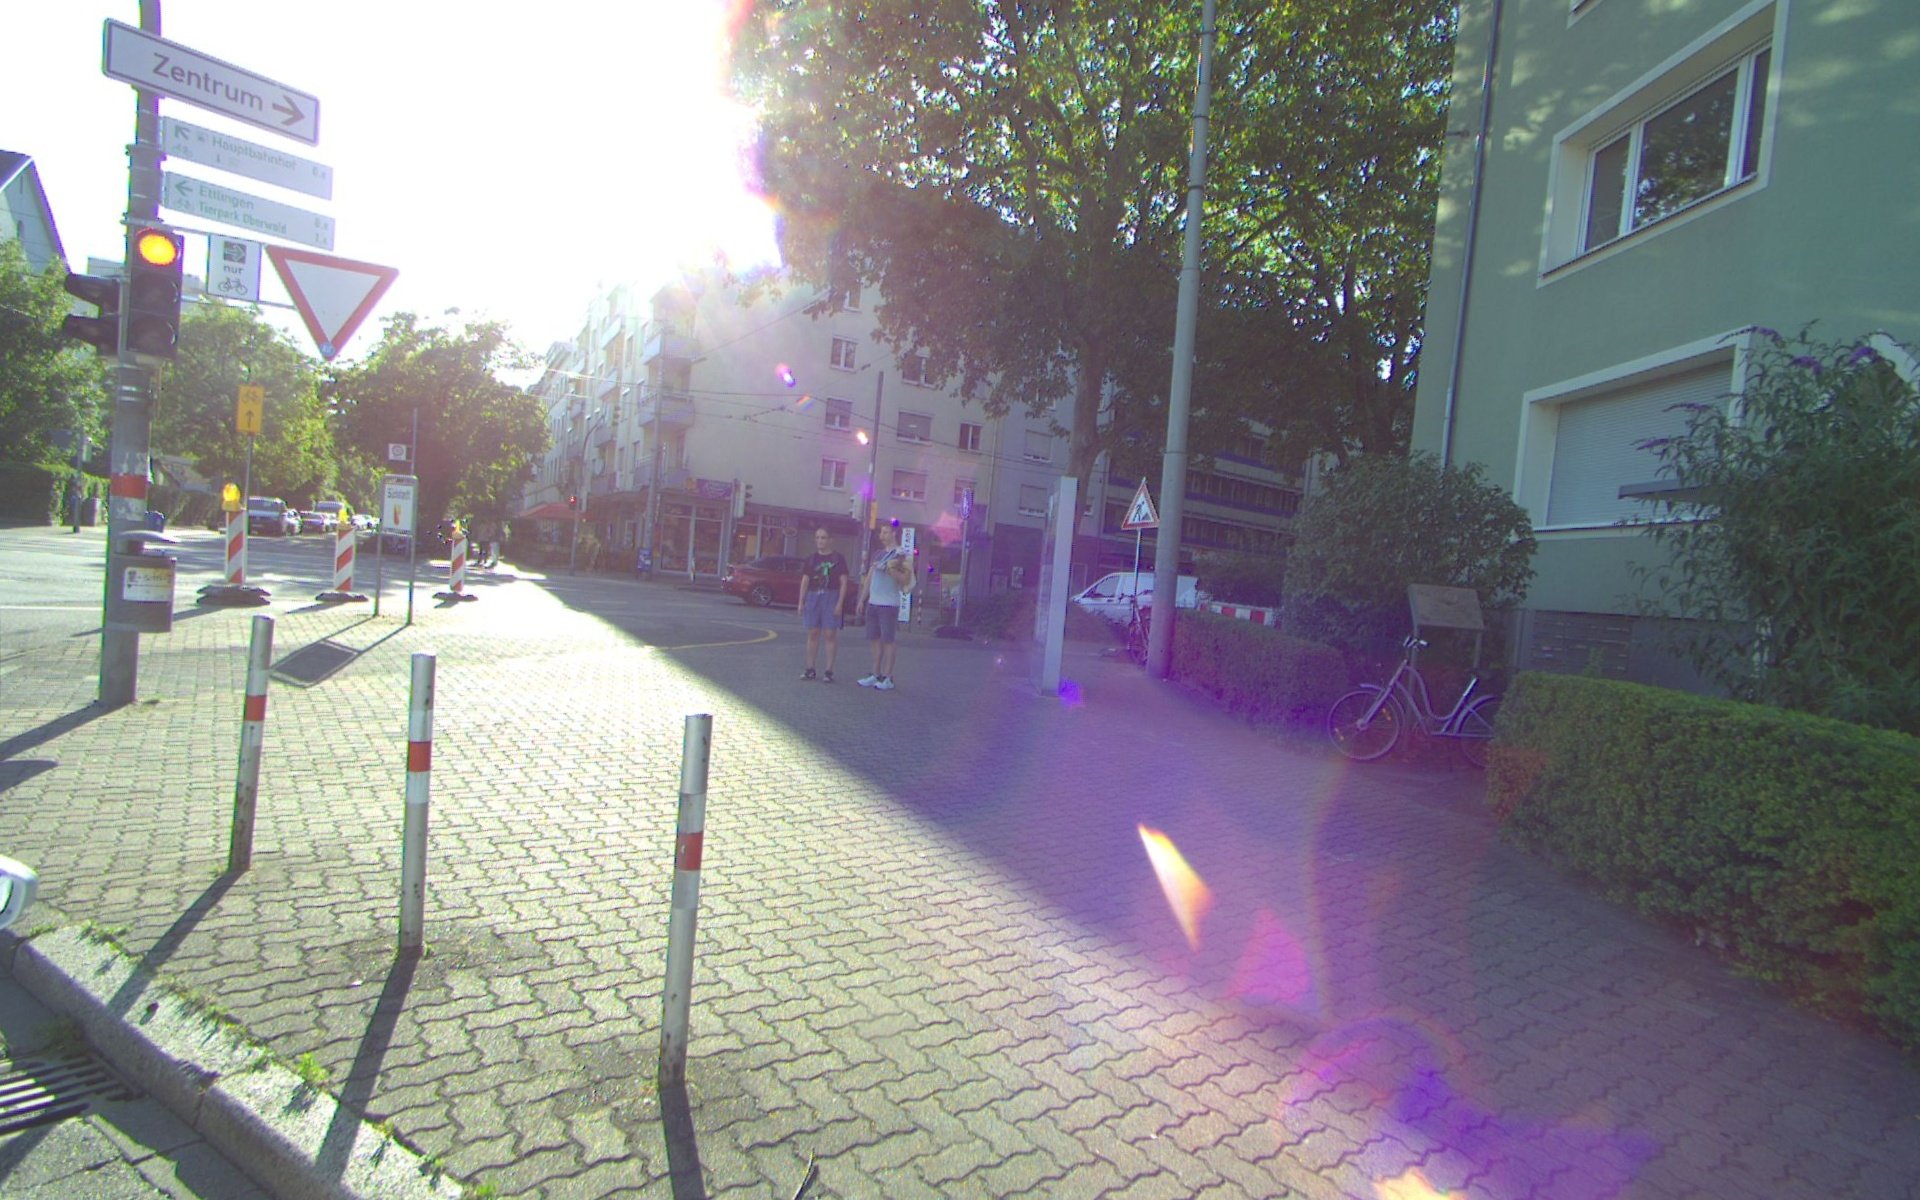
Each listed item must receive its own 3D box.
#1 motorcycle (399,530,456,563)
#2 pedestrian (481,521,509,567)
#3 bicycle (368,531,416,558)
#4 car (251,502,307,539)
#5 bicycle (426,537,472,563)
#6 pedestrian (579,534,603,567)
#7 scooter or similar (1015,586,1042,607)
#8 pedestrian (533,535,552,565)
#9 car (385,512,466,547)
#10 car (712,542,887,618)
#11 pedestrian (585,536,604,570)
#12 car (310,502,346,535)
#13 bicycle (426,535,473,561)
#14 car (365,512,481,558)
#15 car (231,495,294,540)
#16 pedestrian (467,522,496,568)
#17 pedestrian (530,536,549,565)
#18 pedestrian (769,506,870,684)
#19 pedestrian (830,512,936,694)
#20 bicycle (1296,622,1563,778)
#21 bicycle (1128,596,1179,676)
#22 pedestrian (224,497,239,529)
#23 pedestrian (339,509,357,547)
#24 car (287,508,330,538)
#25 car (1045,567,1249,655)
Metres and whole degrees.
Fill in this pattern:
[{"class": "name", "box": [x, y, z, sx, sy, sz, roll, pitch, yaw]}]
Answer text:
[{"class": "motorcycle", "box": [-21.647, -2.166, 40.886, 1.938, 1.124, 0.829, 4, 2, -34]}, {"class": "pedestrian", "box": [-18.553, -2.219, 40.131, 0.681, 1.774, 0.793, 5, 2, -9]}, {"class": "bicycle", "box": [-23.707, -2.335, 42.018, 1.708, 0.945, 0.667, 5, 2, -29]}, {"class": "car", "box": [-40.167, -4.683, 59.463, 2.336, 1.818, 5.265, 4, 2, -31]}, {"class": "bicycle", "box": [-21.978, -2.169, 43.282, 1.708, 0.945, 0.557, 5, 2, -29]}, {"class": "pedestrian", "box": [-18.263, -2.458, 49.768, 0.806, 1.565, 0.905, 3, 3, -35]}, {"class": "scooter or similar", "box": [3.546, -0.185, 52.138, 1.421, 0.966, 0.462, 4, 3, -44]}, {"class": "pedestrian", "box": [-20.826, -2.489, 50.207, 0.803, 1.381, 0.908, 4, 2, -23]}, {"class": "car", "box": [-39.356, -5.155, 74.122, 5.050, 1.948, 2.344, 5, 0, -32]}, {"class": "car", "box": [-4.400, -0.544, 27.458, 4.329, 1.585, 1.890, 5, 2, -21]}, {"class": "pedestrian", "box": [-17.818, -2.286, 49.044, 0.472, 1.613, 0.615, 8, 3, 45]}, {"class": "car", "box": [-54.394, -6.984, 86.639, 2.336, 2.548, 5.265, 4, 2, -31]}, {"class": "bicycle", "box": [-21.608, -2.192, 42.610, 1.708, 0.945, 0.557, 5, 2, -29]}, {"class": "car", "box": [-30.233, -3.585, 56.680, 5.576, 1.948, 2.343, 5, 0, -32]}, {"class": "car", "box": [-37.336, -4.400, 53.991, 2.336, 2.040, 5.265, 4, 2, -31]}, {"class": "pedestrian", "box": [-19.375, -2.201, 40.754, 0.706, 1.774, 0.793, 5, 2, -7]}, {"class": "pedestrian", "box": [-21.466, -2.528, 51.363, 0.803, 1.381, 0.908, 4, 2, -23]}, {"class": "pedestrian", "box": [-1.481, -0.055, 10.728, 0.680, 1.774, 0.794, 6, 2, 13]}, {"class": "pedestrian", "box": [-0.798, 0.027, 10.525, 0.680, 1.774, 0.794, 6, 2, 21]}, {"class": "bicycle", "box": [3.947, 0.824, 8.552, 1.897, 1.071, 0.521, 6, 2, 5]}, {"class": "bicycle", "box": [2.859, 0.496, 15.006, 0.511, 1.071, 1.933, 6, 2, 7]}, {"class": "pedestrian", "box": [-41.646, -4.981, 57.530, 0.575, 1.754, 0.602, 4, 3, -34]}, {"class": "pedestrian", "box": [-31.730, -3.725, 52.169, 0.656, 1.864, 0.677, 4, 3, -30]}, {"class": "car", "box": [-47.043, -5.583, 72.774, 2.336, 1.818, 5.265, 4, 2, -31]}, {"class": "car", "box": [4.705, 0.224, 26.135, 1.913, 1.849, 5.185, 5, 0, -37]}]
